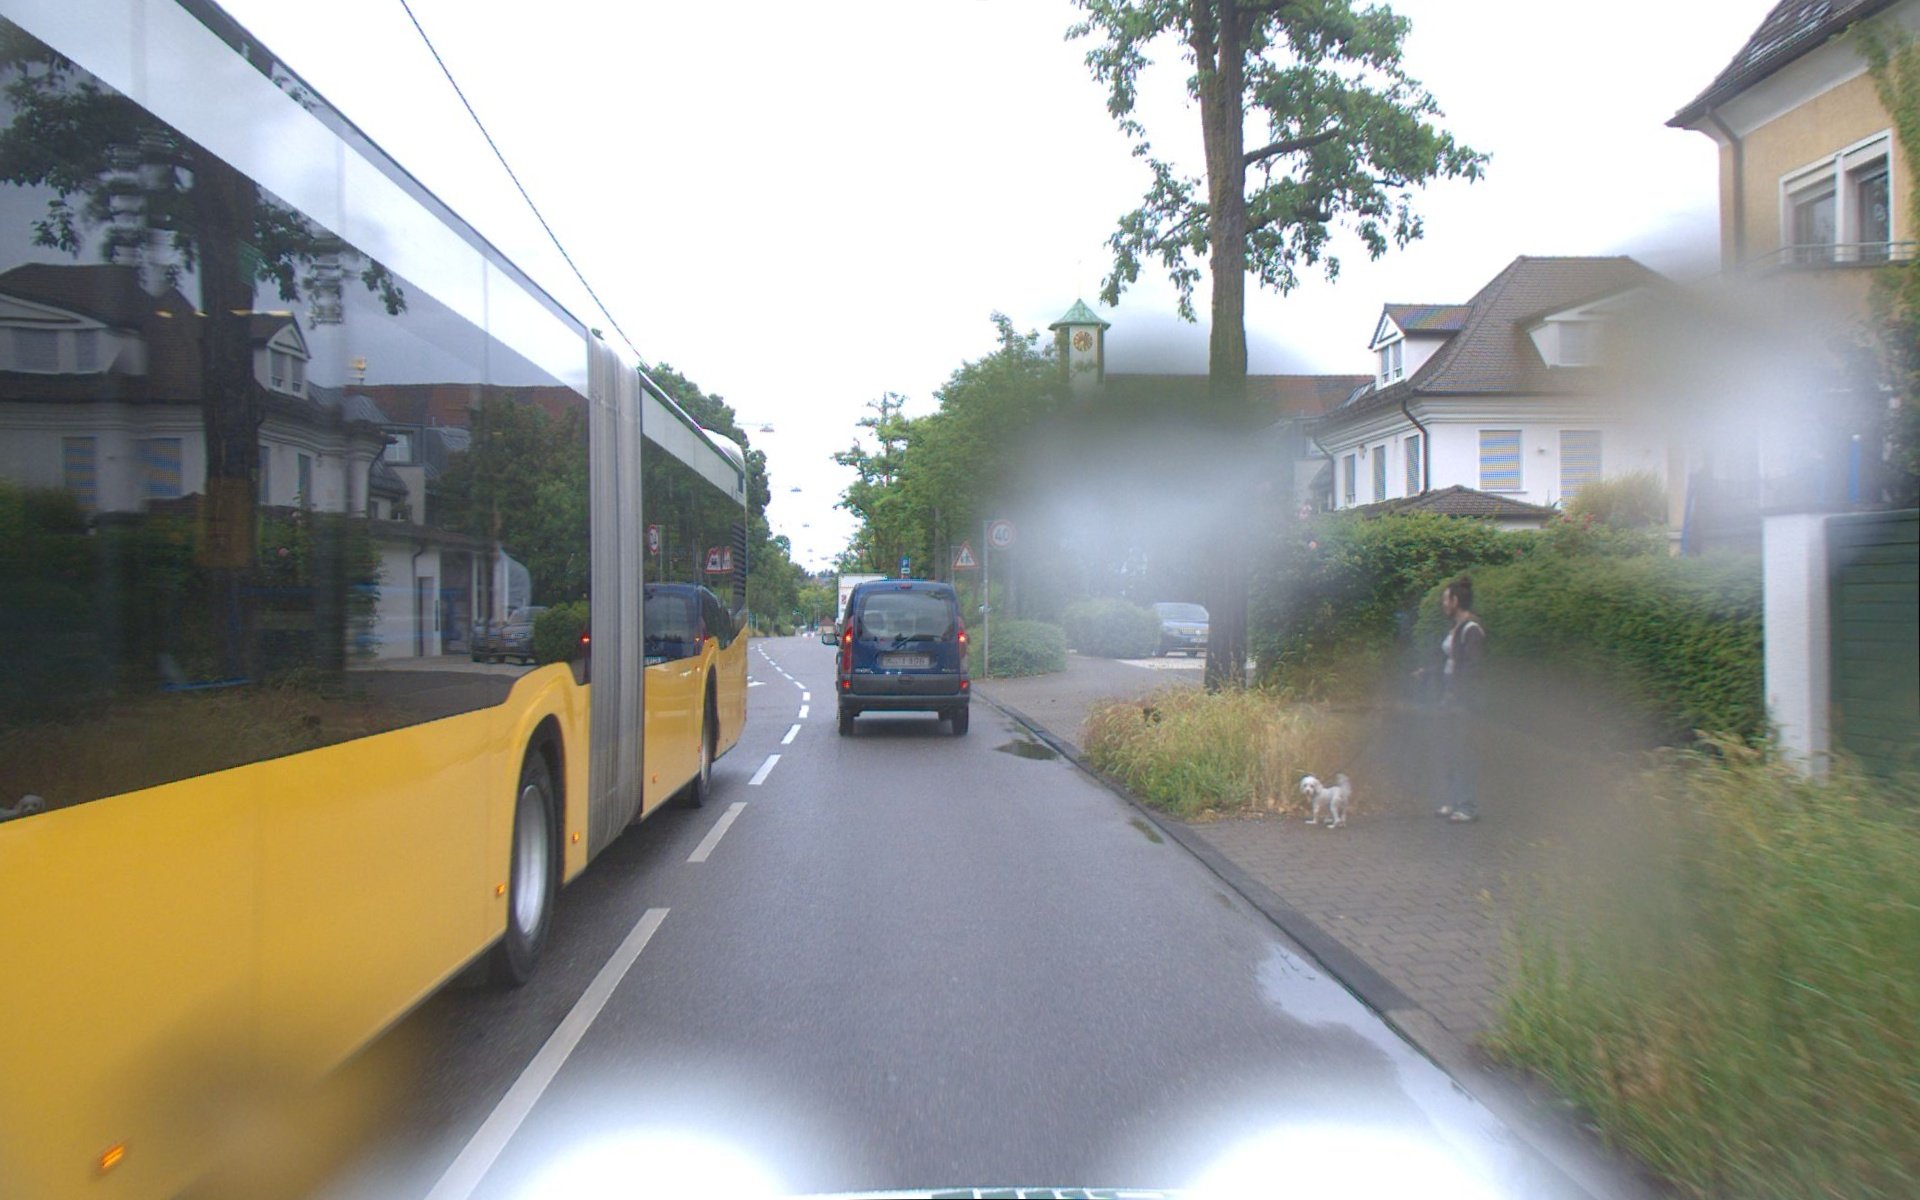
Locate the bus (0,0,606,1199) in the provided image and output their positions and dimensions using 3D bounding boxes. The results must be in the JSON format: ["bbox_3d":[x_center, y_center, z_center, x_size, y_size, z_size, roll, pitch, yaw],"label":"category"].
[{"bbox_3d":[-2.739,0.077,2.832,2.590,3.098,9.225,0,0,-2],"label":"bus"}]

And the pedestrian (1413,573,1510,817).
[{"bbox_3d":[3.279,0.610,10.824,0.472,1.561,0.439,1,-1,-6],"label":"pedestrian"}]

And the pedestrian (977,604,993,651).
[{"bbox_3d":[0.939,1.029,61.959,0.550,1.738,0.516,0,-1,4],"label":"pedestrian"}]

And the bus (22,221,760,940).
[{"bbox_3d":[-3.065,-0.050,11.767,2.542,3.213,8.631,0,0,-2],"label":"bus"}]

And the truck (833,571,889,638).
[{"bbox_3d":[-5.359,0.248,88.808,2.679,3.446,6.676,-1,0,-6],"label":"truck"}]

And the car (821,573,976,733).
[{"bbox_3d":[-0.812,0.627,21.237,1.773,1.829,3.997,-1,0,-3],"label":"car"}]

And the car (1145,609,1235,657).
[{"bbox_3d":[6.042,0.854,43.840,1.794,1.197,3.999,1,0,-1],"label":"car"}]
